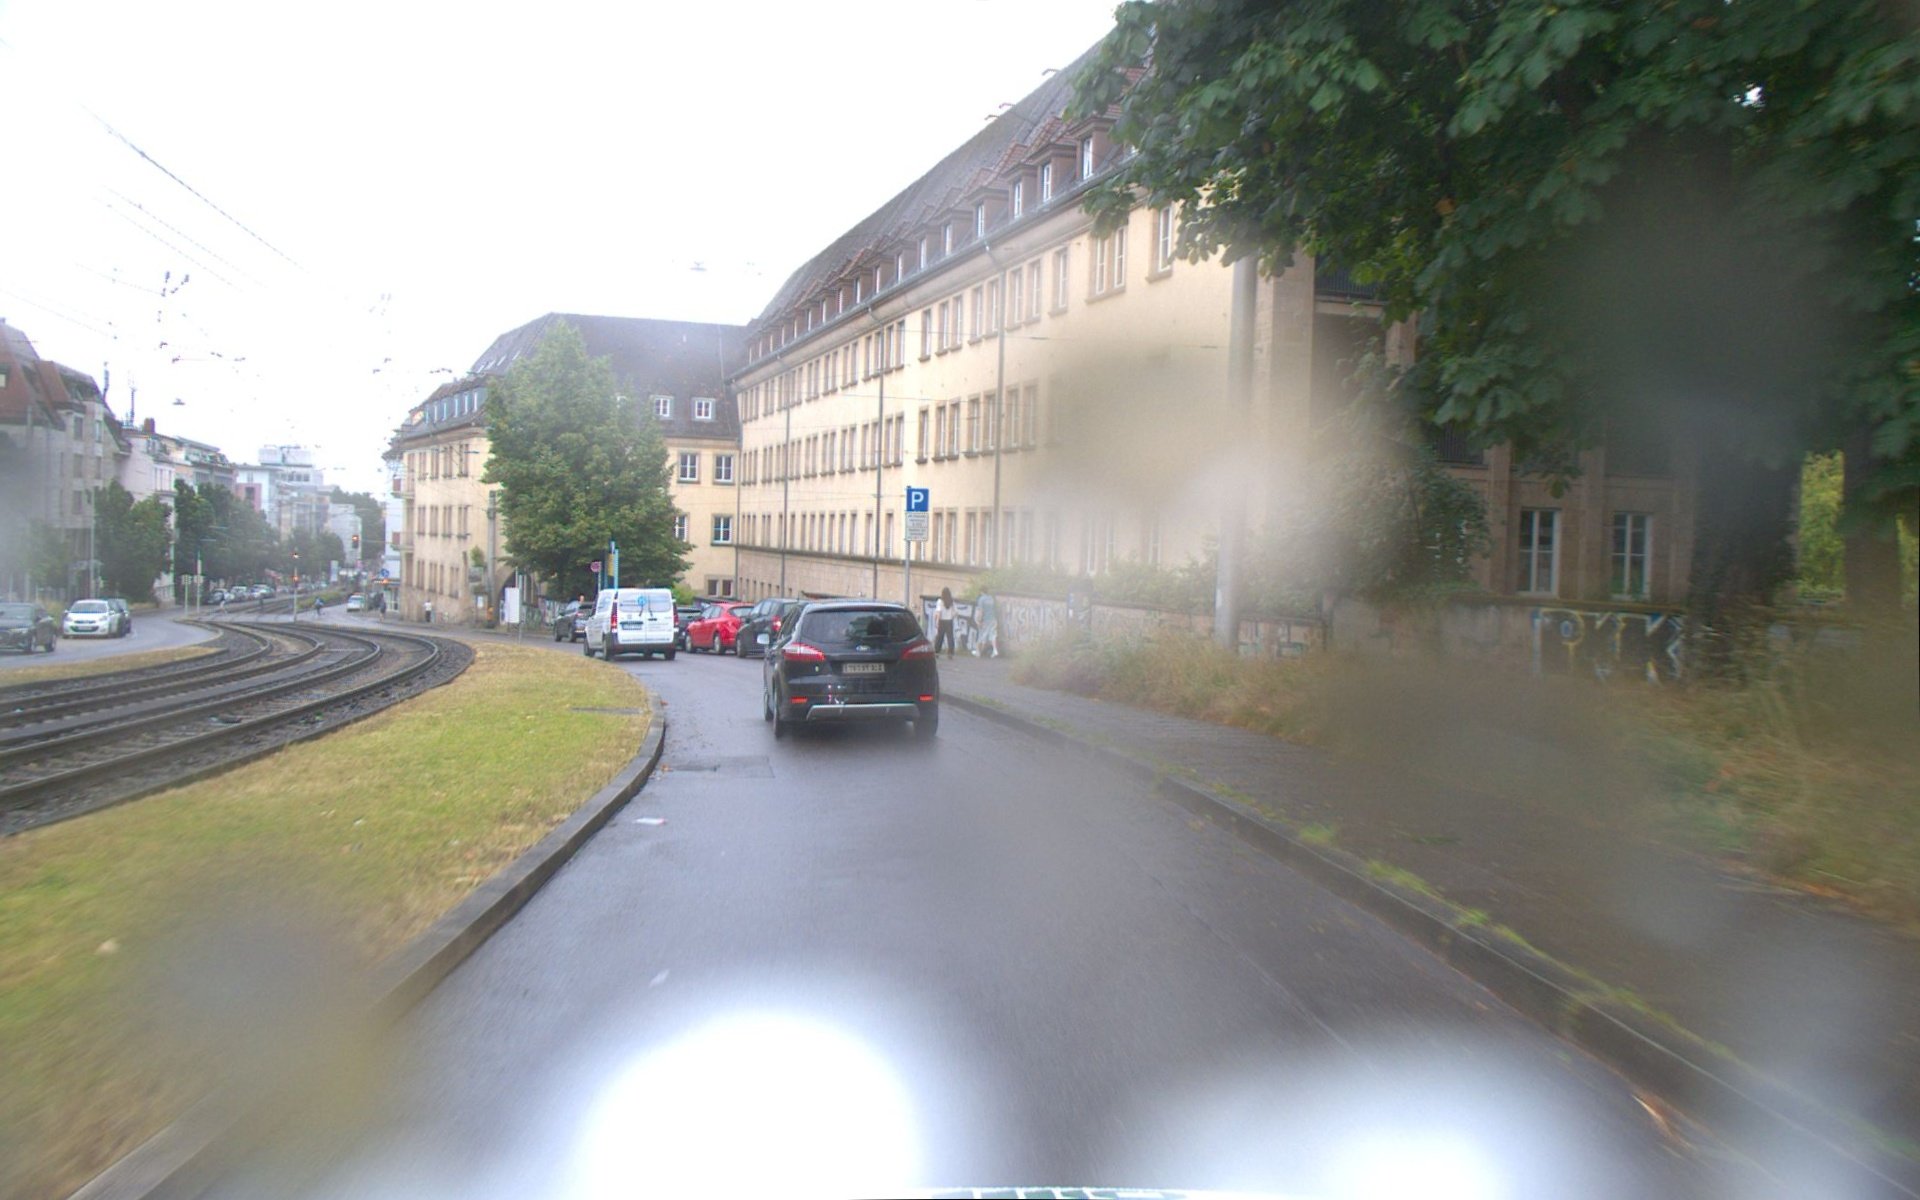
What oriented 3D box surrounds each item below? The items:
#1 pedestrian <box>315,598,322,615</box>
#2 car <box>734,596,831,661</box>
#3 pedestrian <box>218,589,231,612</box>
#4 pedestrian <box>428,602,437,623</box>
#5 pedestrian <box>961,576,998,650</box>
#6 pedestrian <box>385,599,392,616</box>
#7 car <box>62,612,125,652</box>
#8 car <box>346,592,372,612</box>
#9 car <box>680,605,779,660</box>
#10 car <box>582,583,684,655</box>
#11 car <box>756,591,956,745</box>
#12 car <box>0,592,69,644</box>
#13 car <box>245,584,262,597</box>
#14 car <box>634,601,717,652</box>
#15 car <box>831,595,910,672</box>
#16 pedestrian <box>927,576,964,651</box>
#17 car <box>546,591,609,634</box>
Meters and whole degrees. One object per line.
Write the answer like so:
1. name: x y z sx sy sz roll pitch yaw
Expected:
1. pedestrian: -52.743 0.534 136.021 0.503 1.338 0.502 0 0 -25
2. car: -4.777 0.721 44.028 1.642 1.600 3.832 -1 1 -21
3. pedestrian: -61.977 0.049 139.359 0.896 1.965 0.816 0 0 -32
4. pedestrian: -35.230 0.827 110.556 0.498 1.338 0.506 0 0 -27
5. pedestrian: 0.472 0.303 40.424 0.706 1.785 0.736 -1 1 -16
6. pedestrian: -45.951 0.612 132.927 0.503 1.338 0.502 0 0 -25
7. car: -35.051 1.271 66.998 1.739 1.505 3.713 0 0 -20
8. car: -55.940 0.162 153.942 1.961 1.803 3.982 0 0 -16
9. car: -6.883 0.936 49.028 1.646 1.502 4.029 1 0 -28
10. car: -8.848 0.463 44.521 2.105 1.775 4.194 -1 1 -20
11. car: -1.301 0.680 18.948 1.885 1.505 3.991 0 1 -10
12. car: -27.903 0.505 48.952 1.935 1.456 4.178 1 0 -18
13. car: -92.968 -1.314 217.818 1.966 1.691 3.973 0 0 -22
14. car: -9.284 0.821 53.720 1.644 1.502 4.424 -1 1 -24
15. car: -1.931 0.677 35.062 1.567 1.491 2.718 -1 1 -5
16. pedestrian: -0.349 0.309 40.081 0.706 1.785 0.736 -1 1 -16
17. car: -14.837 0.459 64.018 1.644 1.551 4.078 -1 1 -24
